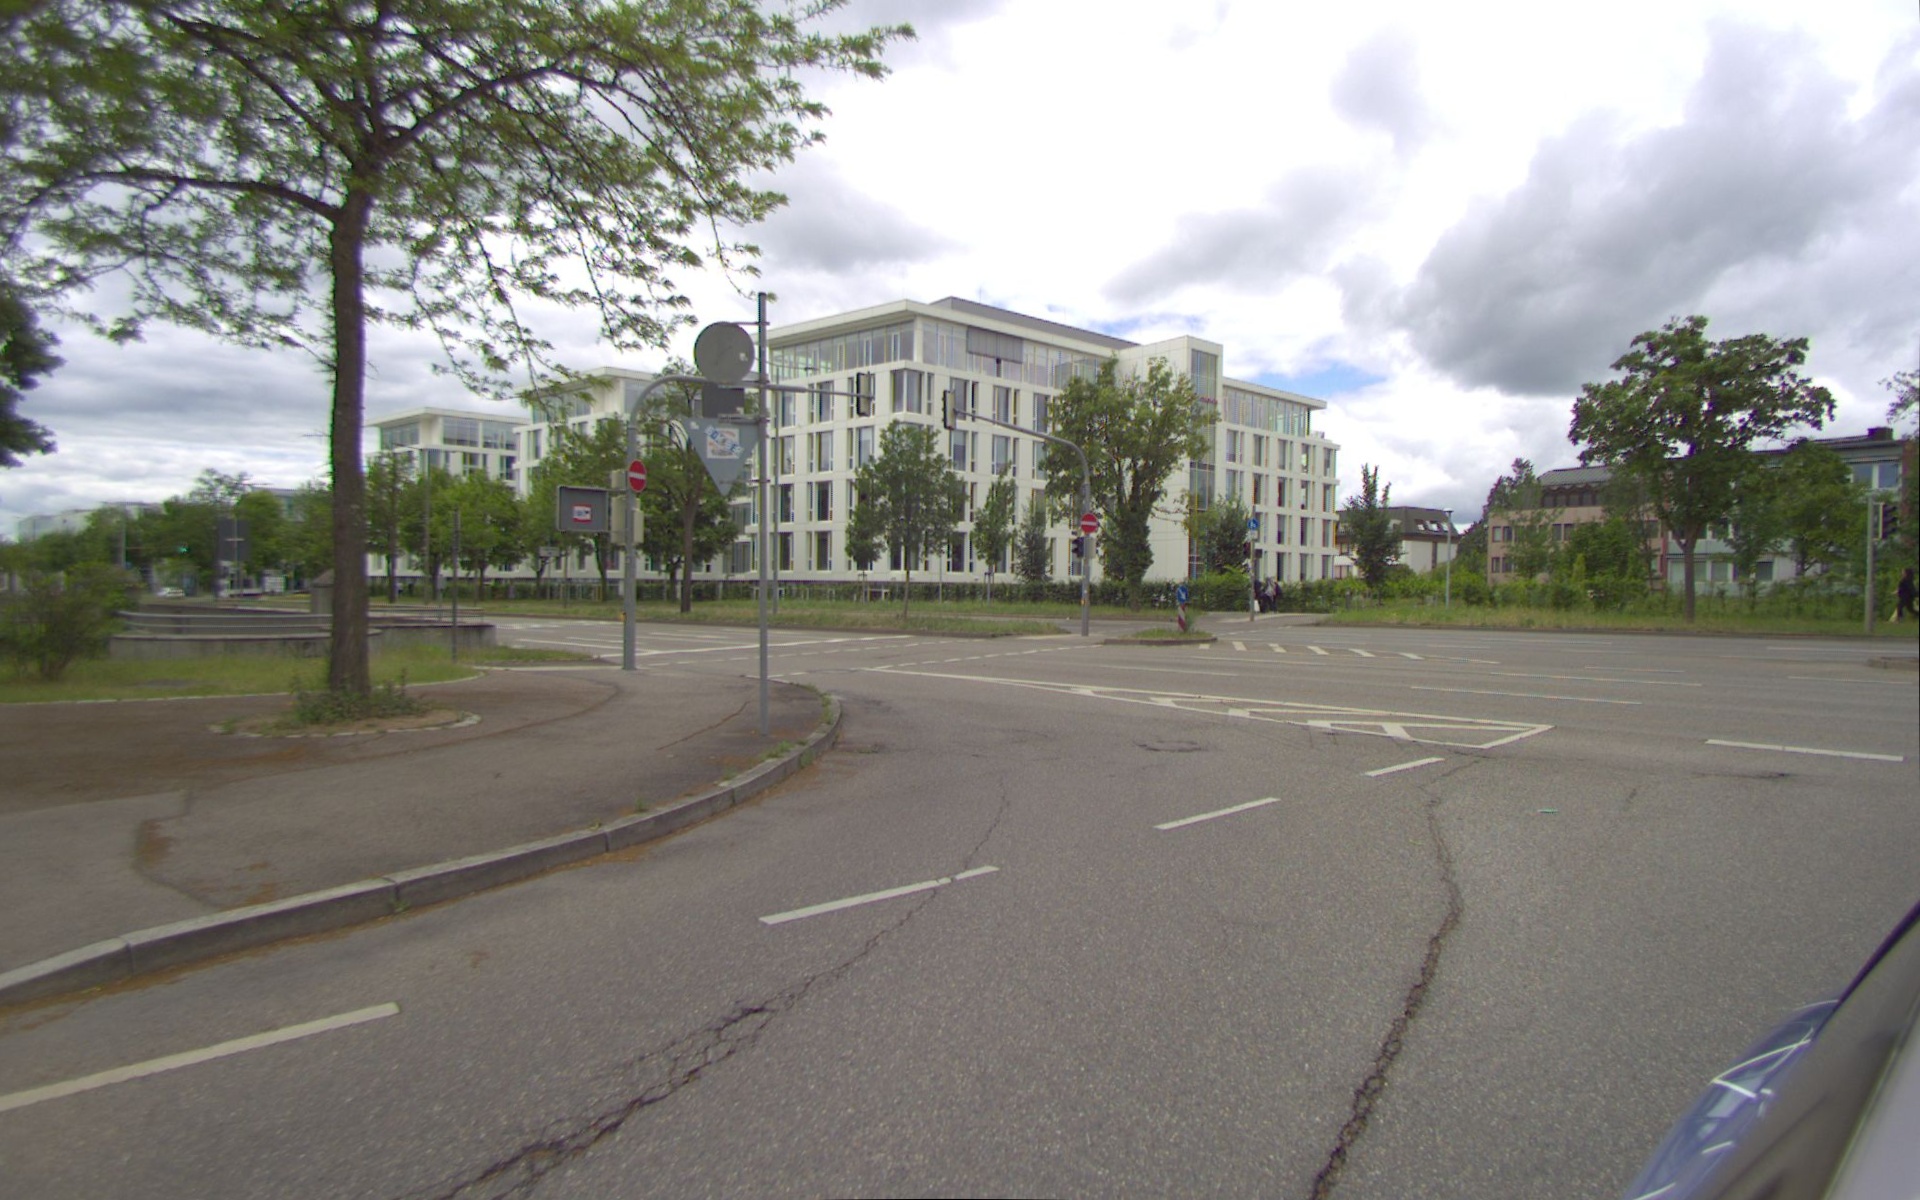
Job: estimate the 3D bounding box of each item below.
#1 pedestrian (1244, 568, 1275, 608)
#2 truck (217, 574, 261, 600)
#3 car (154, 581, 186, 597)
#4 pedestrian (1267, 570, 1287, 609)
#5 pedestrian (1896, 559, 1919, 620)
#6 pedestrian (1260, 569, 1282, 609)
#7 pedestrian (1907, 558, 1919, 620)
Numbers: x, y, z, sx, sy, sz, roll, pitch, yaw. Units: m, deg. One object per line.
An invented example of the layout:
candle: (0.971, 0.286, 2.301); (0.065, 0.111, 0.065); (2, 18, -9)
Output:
pedestrian: (12.437, -0.487, 42.018); (0.718, 1.647, 1.036); (0, -2, -22)
truck: (-70.456, -1.253, 98.871); (4.569, 2.407, 2.525); (-1, -2, 41)
car: (-87.068, -1.218, 111.516); (3.861, 1.695, 1.852); (-1, -2, 36)
pedestrian: (13.474, -0.437, 43.064); (0.676, 1.647, 0.660); (0, -2, 8)
pedestrian: (27.258, -0.292, 28.746); (0.826, 1.717, 0.609); (-1, -2, 33)
pedestrian: (13.021, -0.469, 42.344); (0.554, 1.647, 0.709); (0, -2, -18)
pedestrian: (27.020, -0.301, 28.048); (0.995, 1.717, 0.601); (-1, -2, 33)
